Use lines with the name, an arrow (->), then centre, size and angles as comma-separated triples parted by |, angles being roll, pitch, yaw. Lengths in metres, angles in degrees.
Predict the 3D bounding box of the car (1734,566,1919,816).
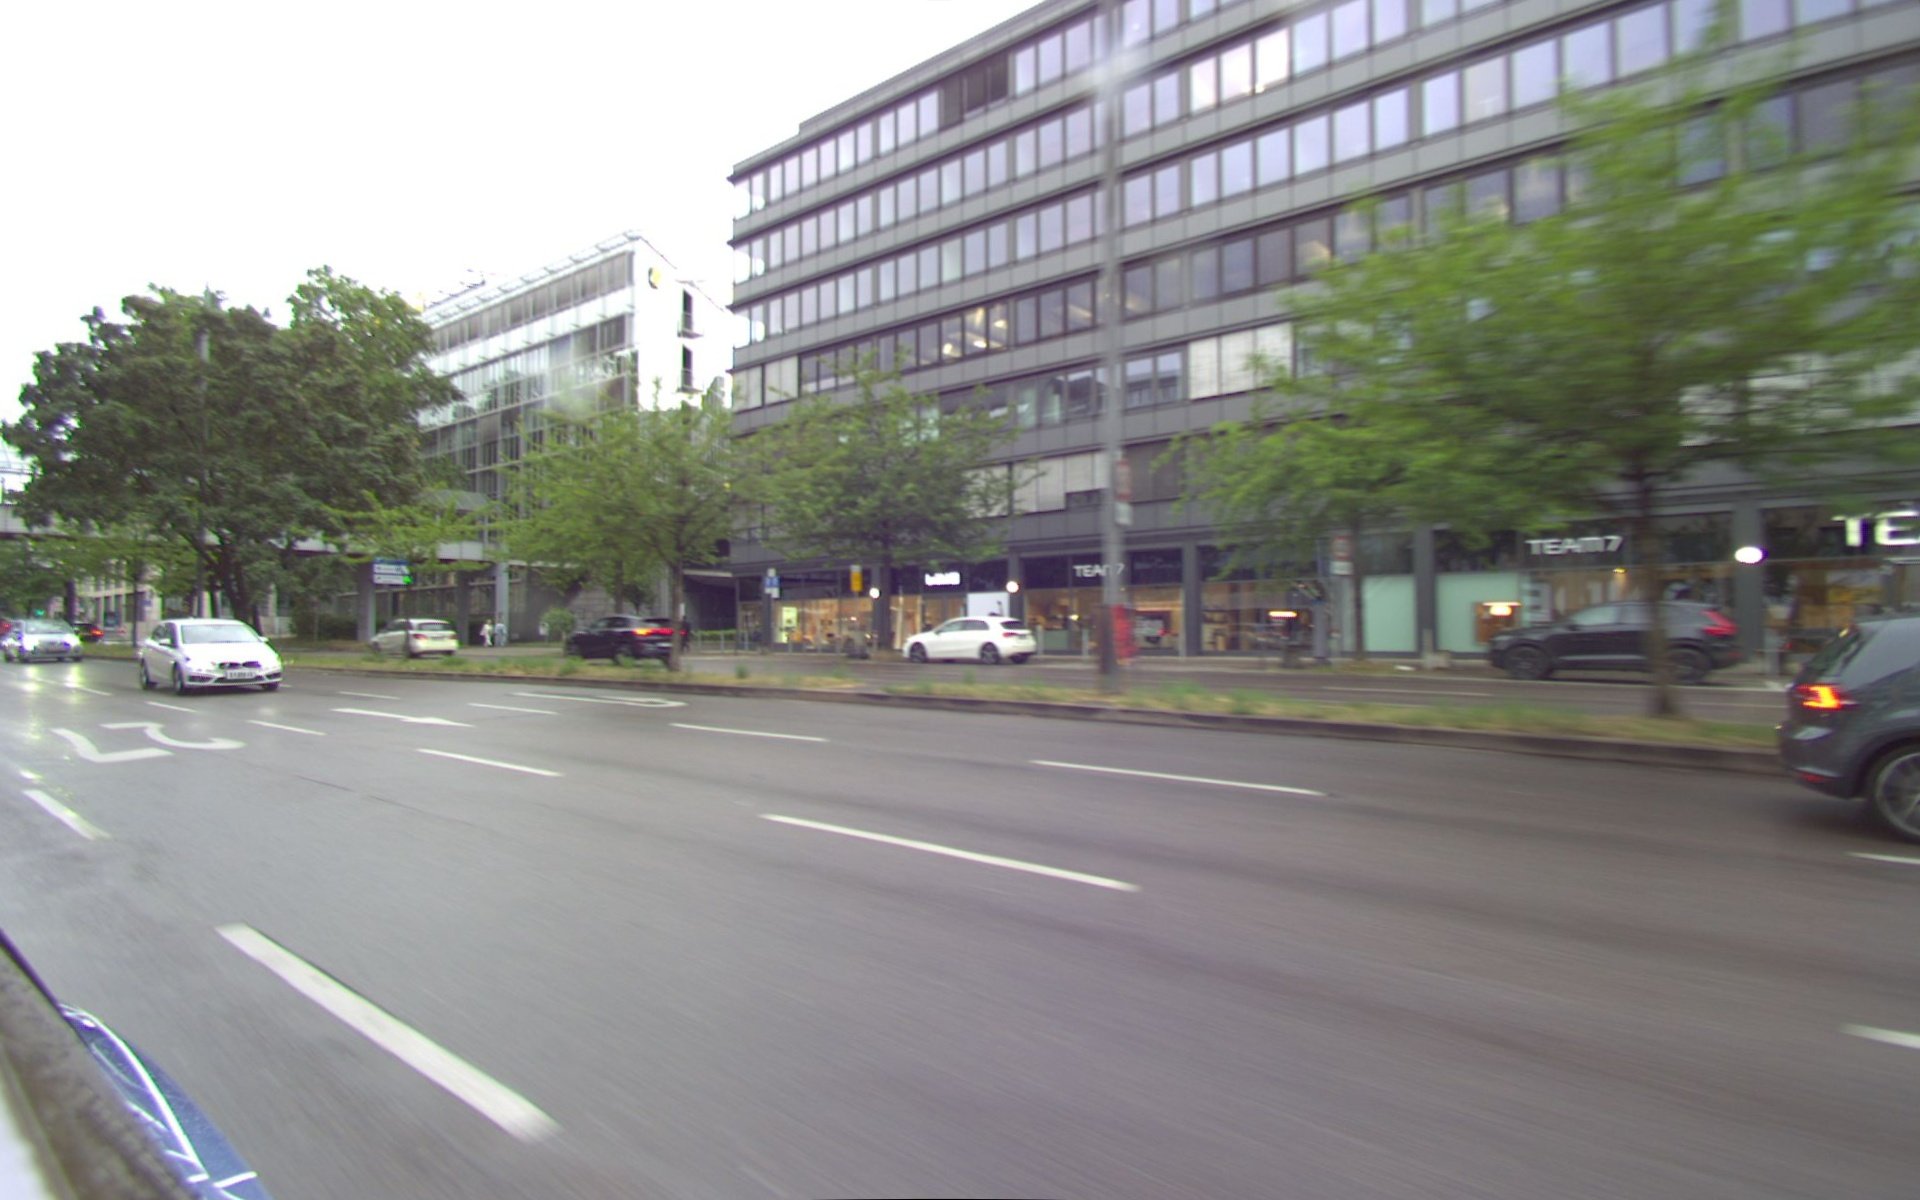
car -> 7.325, 0.531, 5.646 | 4.686, 1.461, 1.820 | 0, -1, 41

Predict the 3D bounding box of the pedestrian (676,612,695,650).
pedestrian -> -13.377, 1.482, 49.321 | 0.751, 1.830, 0.732 | 0, -1, -25

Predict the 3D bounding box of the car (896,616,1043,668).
car -> 0.252, 1.249, 31.063 | 4.302, 1.455, 1.792 | -1, 0, 37

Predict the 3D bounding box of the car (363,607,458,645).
car -> -21.822, 1.017, 40.139 | 4.306, 1.445, 1.711 | -1, -1, 38

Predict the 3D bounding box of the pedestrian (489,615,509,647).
pedestrian -> -26.673, 1.796, 58.527 | 0.924, 1.846, 0.720 | -1, 0, 40

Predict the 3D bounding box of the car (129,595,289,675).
car -> -16.401, 0.736, 22.045 | 4.282, 1.585, 1.766 | -1, -1, 39

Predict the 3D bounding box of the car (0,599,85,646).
car -> -32.626, 0.802, 35.928 | 3.688, 1.585, 1.766 | -1, -1, 40

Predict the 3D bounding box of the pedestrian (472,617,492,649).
pedestrian -> -27.287, 1.890, 57.787 | 0.924, 1.812, 0.720 | -1, 0, 40

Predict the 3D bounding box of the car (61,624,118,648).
car -> -51.474, 2.100, 59.819 | 4.069, 1.320, 1.712 | -1, -1, 36

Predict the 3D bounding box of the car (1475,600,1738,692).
car -> 13.120, 0.868, 20.699 | 4.308, 1.673, 1.790 | -1, 0, 41

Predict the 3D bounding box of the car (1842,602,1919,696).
car -> 17.789, 0.801, 16.710 | 4.769, 1.496, 1.791 | -1, 2, 40

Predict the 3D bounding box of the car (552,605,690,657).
car -> -10.607, 0.931, 31.529 | 4.711, 1.528, 1.791 | -1, -1, 38
